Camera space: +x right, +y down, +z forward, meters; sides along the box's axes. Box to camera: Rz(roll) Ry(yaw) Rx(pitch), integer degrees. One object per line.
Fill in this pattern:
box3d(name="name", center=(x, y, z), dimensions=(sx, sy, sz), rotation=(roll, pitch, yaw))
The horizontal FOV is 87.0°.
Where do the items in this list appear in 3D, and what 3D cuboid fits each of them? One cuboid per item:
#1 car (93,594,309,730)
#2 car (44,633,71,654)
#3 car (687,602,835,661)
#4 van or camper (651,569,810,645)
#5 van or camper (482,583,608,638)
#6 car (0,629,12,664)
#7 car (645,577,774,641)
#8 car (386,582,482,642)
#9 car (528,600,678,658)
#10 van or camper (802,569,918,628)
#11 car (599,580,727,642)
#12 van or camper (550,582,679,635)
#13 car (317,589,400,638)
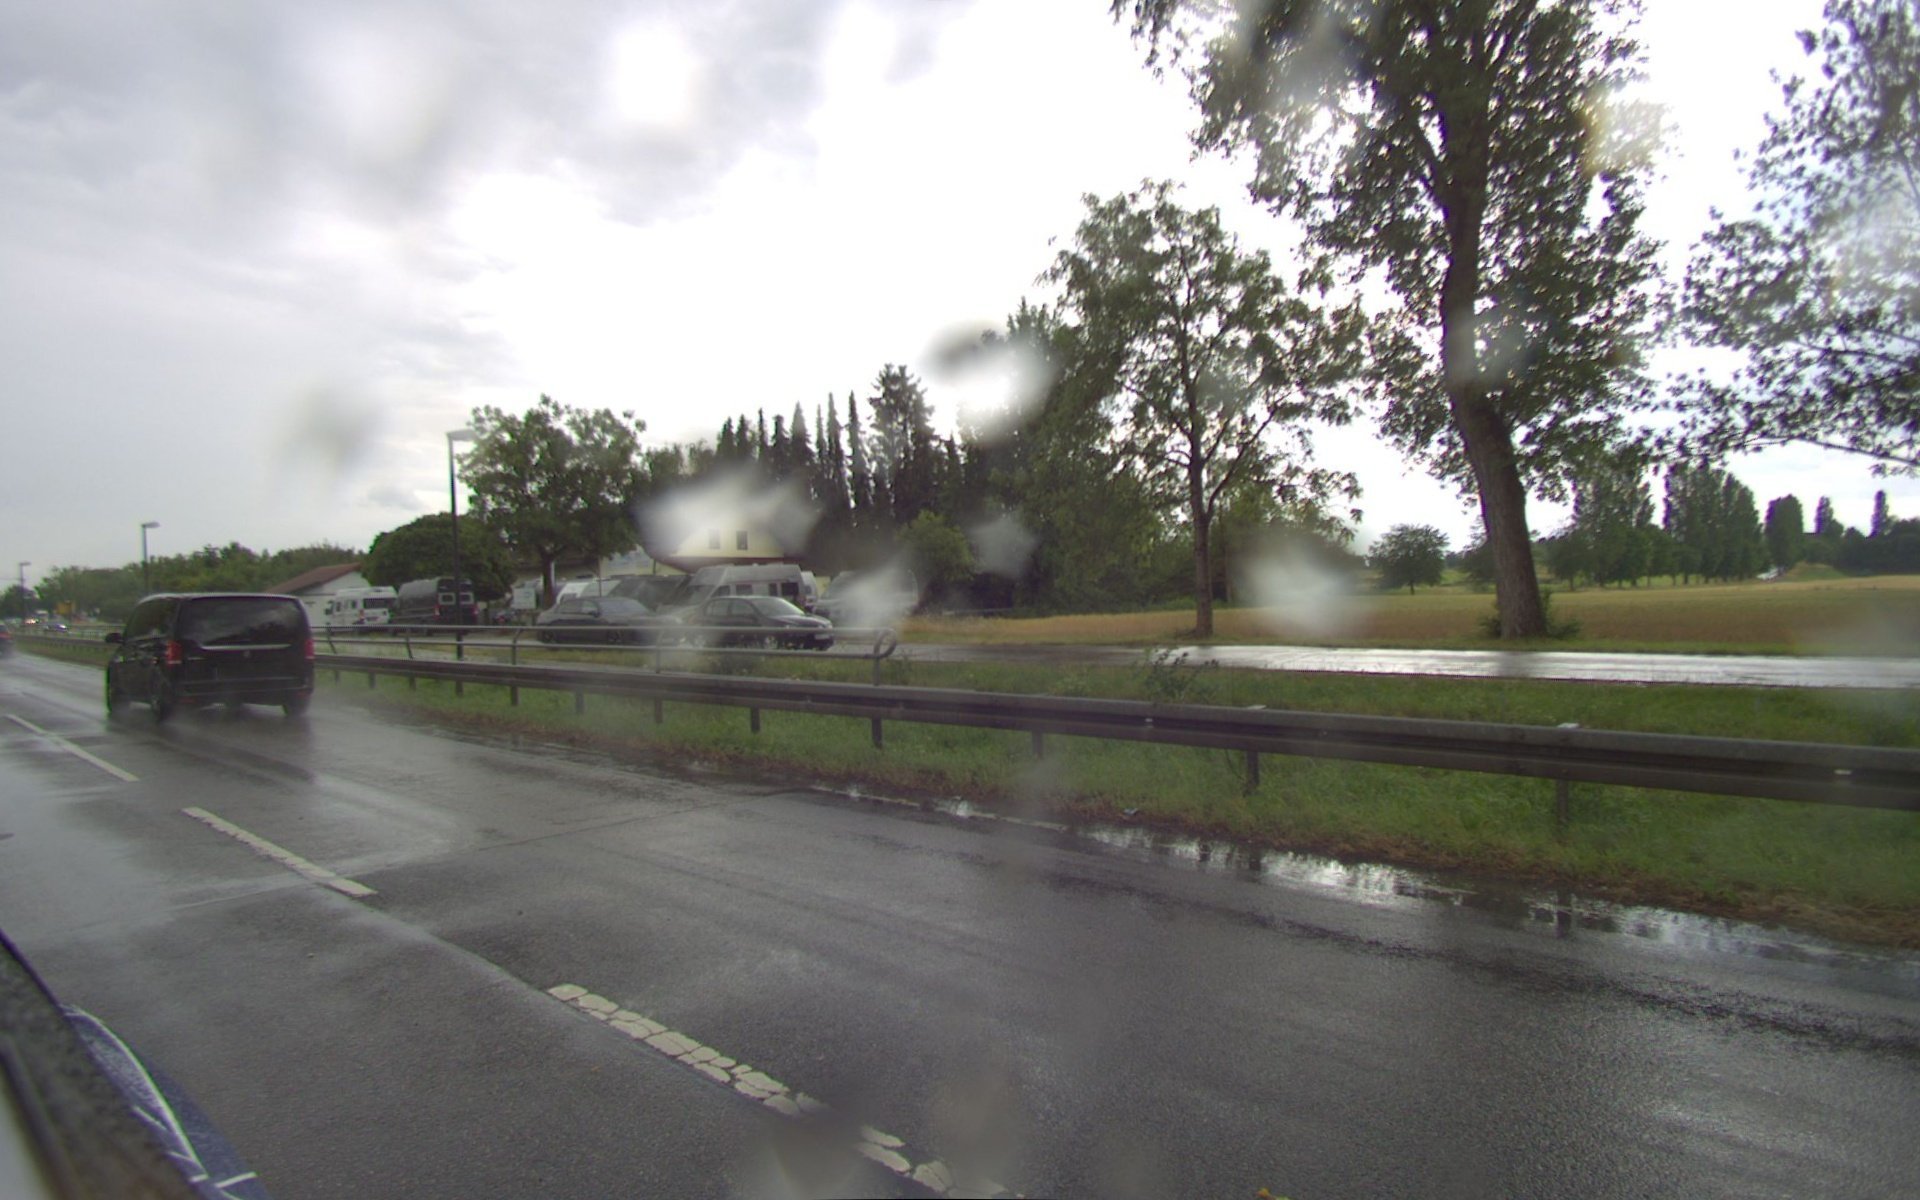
box3d(name="car", center=(-11.832, 0.887, 15.674), dimensions=(4.412, 1.816, 1.809), rotation=(-2, -2, 41))
box3d(name="car", center=(-94.685, 4.562, 106.158), dimensions=(3.998, 2.029, 1.661), rotation=(-1, -1, 41))
box3d(name="car", center=(-4.874, 0.757, 24.494), dimensions=(3.892, 1.341, 1.271), rotation=(-2, -2, 37))
box3d(name="van or camper", center=(-8.682, 0.195, 38.818), dimensions=(2.080, 2.697, 5.816), rotation=(-2, 0, 40))
box3d(name="van or camper", center=(-22.870, 0.535, 55.979), dimensions=(2.432, 2.822, 5.992), rotation=(-2, 0, 40))
box3d(name="car", center=(-42.035, 1.978, 43.349), dimensions=(4.109, 1.462, 1.696), rotation=(-2, -1, 41))
box3d(name="car", center=(-10.448, 0.335, 42.526), dimensions=(1.998, 2.477, 5.043), rotation=(-2, 0, 38))
box3d(name="car", center=(-26.323, 0.620, 50.569), dimensions=(5.571, 2.784, 2.358), rotation=(-2, 0, 42))
box3d(name="car", center=(-10.129, 0.811, 28.471), dimensions=(5.115, 1.502, 1.501), rotation=(-2, -2, 38))
box3d(name="van or camper", center=(-4.654, -0.113, 48.068), dimensions=(1.997, 2.610, 5.749), rotation=(-2, 0, 38))
box3d(name="car", center=(-12.929, 0.448, 44.315), dimensions=(1.998, 2.520, 5.132), rotation=(-2, 0, 38))
box3d(name="van or camper", center=(-18.587, 0.429, 54.711), dimensions=(2.560, 2.611, 6.161), rotation=(-2, 0, 40))
box3d(name="car", center=(-33.629, 0.770, 56.512), dimensions=(6.017, 2.600, 2.214), rotation=(-2, 0, 42))
